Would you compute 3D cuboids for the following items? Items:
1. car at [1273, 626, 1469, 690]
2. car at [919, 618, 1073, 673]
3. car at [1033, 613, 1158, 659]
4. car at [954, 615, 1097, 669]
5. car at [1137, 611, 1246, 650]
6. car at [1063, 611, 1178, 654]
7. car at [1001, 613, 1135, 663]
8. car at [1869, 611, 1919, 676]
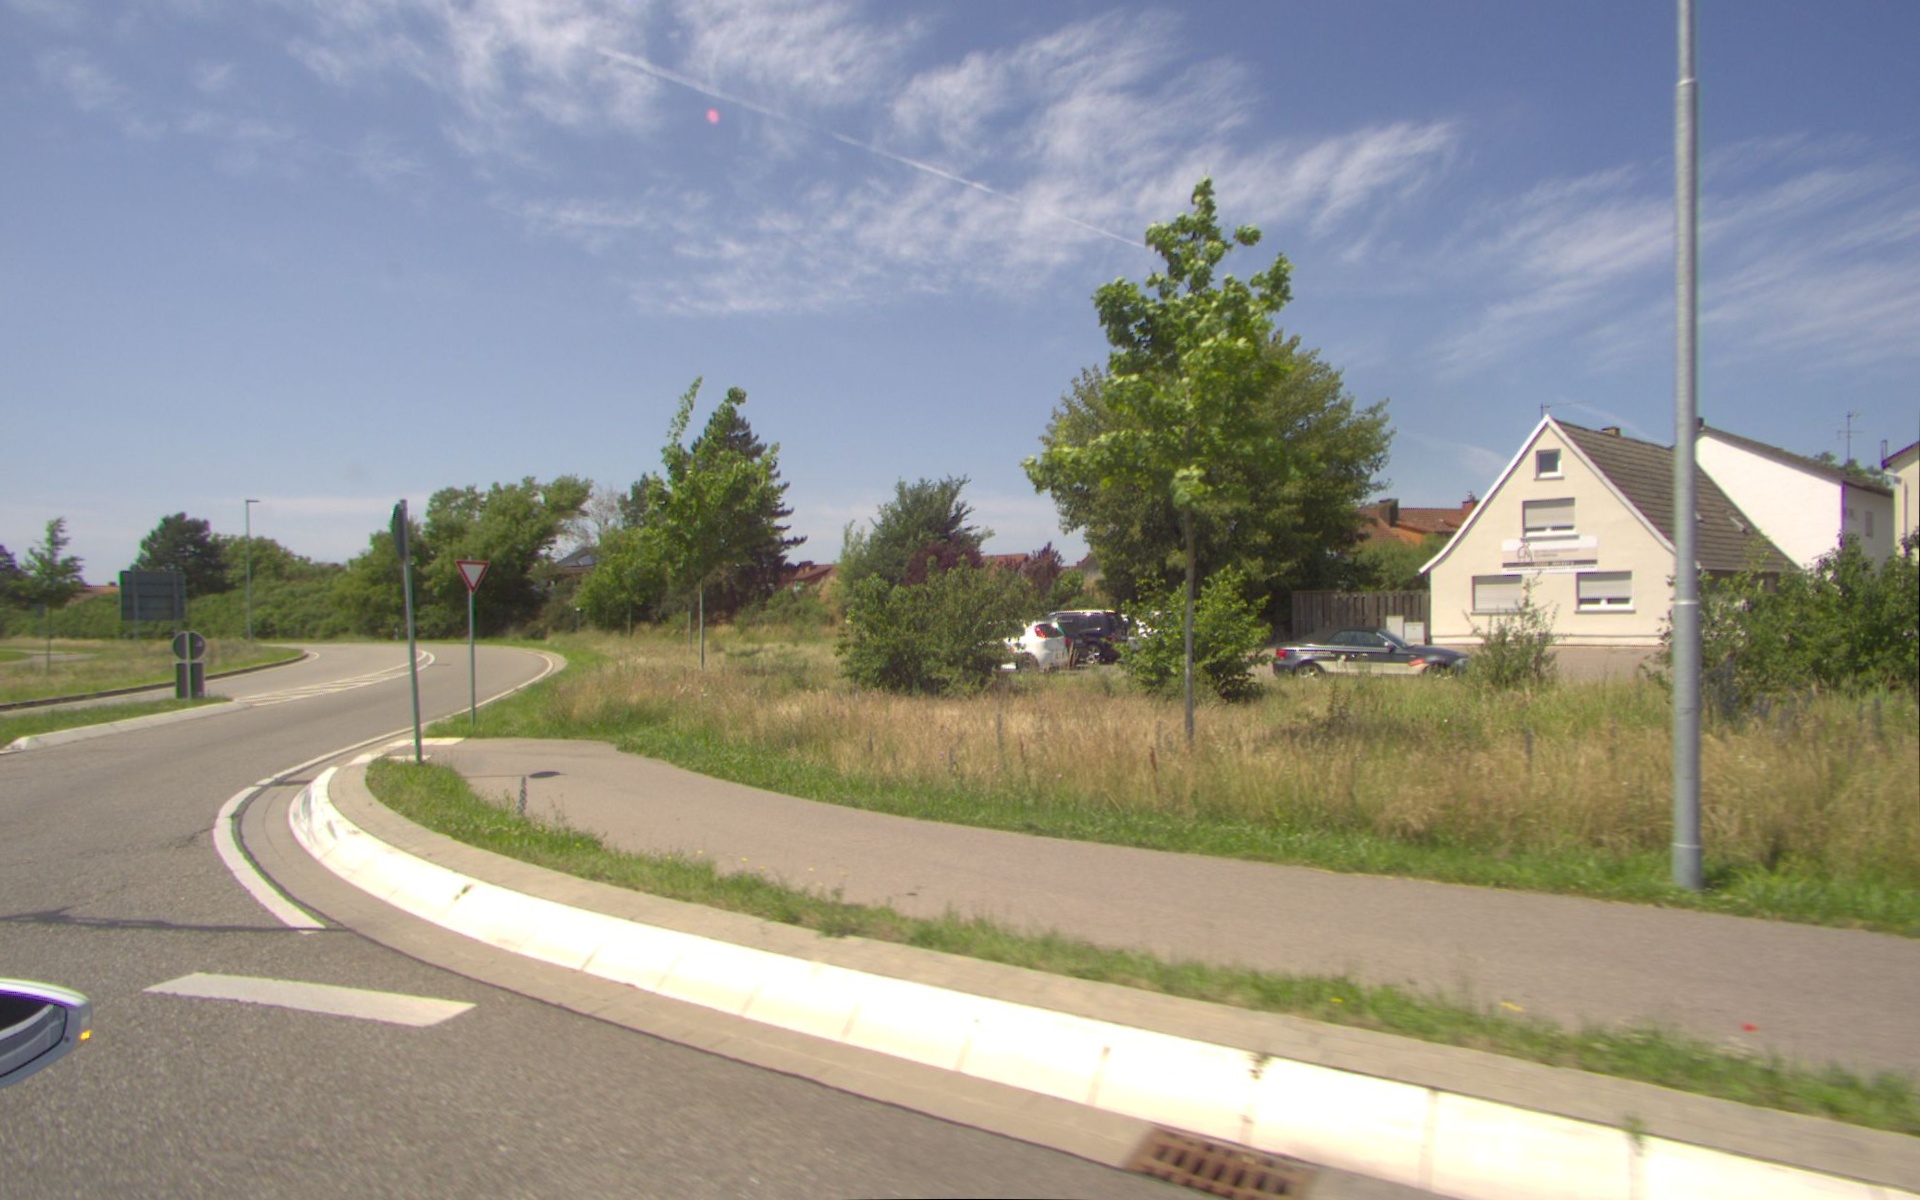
[{"bbox_3d":[9.201,1.265,22.525,3.935,1.328,1.742,-1,-1,25],"label":"car"},{"bbox_3d":[0.995,1.240,27.895,3.940,1.446,1.739,-1,-1,30],"label":"car"},{"bbox_3d":[4.635,1.202,34.423,3.909,1.462,1.765,1,0,32],"label":"car"},{"bbox_3d":[1.946,1.223,30.093,3.909,1.462,1.765,1,0,32],"label":"car"},{"bbox_3d":[9.282,1.195,40.230,3.908,1.462,1.765,1,0,31],"label":"car"},{"bbox_3d":[5.851,1.187,36.449,3.929,1.505,1.745,-1,-1,18],"label":"car"},{"bbox_3d":[3.469,1.179,32.361,3.909,1.462,1.765,1,0,32],"label":"car"},{"bbox_3d":[22.694,0.946,22.451,3.929,1.411,1.648,0,-1,-17],"label":"car"}]
